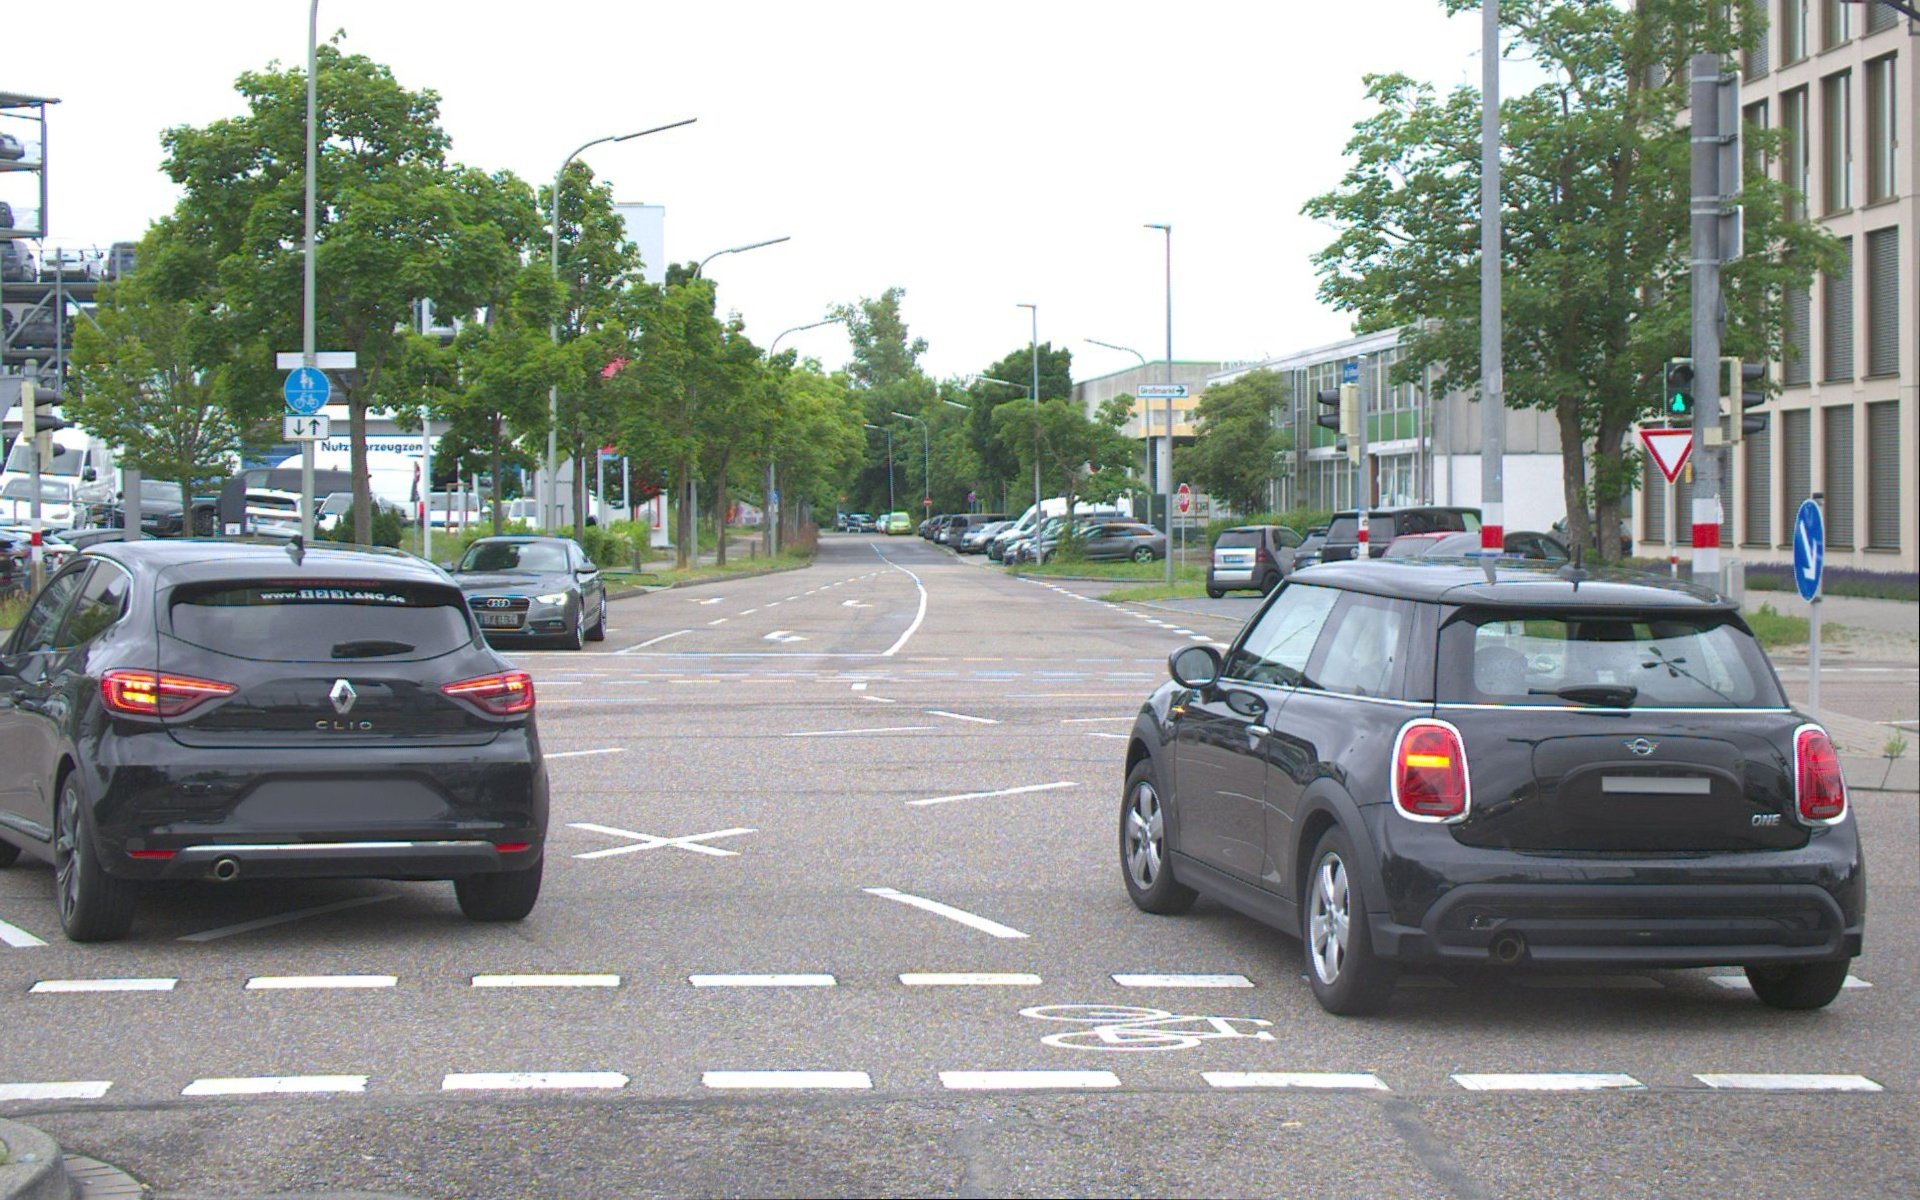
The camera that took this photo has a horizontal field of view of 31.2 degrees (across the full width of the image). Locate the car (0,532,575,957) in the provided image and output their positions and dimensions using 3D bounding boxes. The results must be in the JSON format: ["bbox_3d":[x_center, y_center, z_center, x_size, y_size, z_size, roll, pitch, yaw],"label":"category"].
[{"bbox_3d":[-2.946,0.475,13.745,1.756,1.430,4.001,1,0,-22],"label":"car"}]

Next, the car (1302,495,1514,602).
[{"bbox_3d":[8.548,-0.959,65.316,1.998,1.959,4.235,0,0,41],"label":"car"}]

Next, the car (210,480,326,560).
[{"bbox_3d":[-14.978,-1.708,74.563,1.993,1.612,4.001,1,0,-5],"label":"car"}]

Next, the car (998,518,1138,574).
[{"bbox_3d":[3.850,-1.933,123.260,4.785,1.885,2.144,1,0,-3],"label":"car"}]

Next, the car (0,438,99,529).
[{"bbox_3d":[-19.929,-2.499,74.150,1.993,1.817,4.001,1,0,-5],"label":"car"}]

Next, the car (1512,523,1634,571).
[{"bbox_3d":[18.229,-1.565,102.267,3.229,1.328,1.486,1,0,-19],"label":"car"}]

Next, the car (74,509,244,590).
[{"bbox_3d":[-20.855,-1.306,89.614,3.986,2.007,2.000,1,0,-4],"label":"car"}]

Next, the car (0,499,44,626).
[{"bbox_3d":[-17.421,-0.521,55.232,4.892,2.007,2.000,-2,1,-6],"label":"car"}]

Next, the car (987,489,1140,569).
[{"bbox_3d":[4.278,-2.932,142.610,6.116,3.105,2.134,1,0,-2],"label":"car"}]

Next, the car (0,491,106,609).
[{"bbox_3d":[-17.770,-0.824,60.777,4.892,2.007,2.000,-2,1,-6],"label":"car"}]

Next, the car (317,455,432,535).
[{"bbox_3d":[-12.780,-2.280,75.260,1.993,1.612,4.000,1,0,-3],"label":"car"}]

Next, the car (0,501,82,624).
[{"bbox_3d":[-17.488,-0.567,57.951,4.892,2.007,2.000,-2,1,-6],"label":"car"}]

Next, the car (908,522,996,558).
[{"bbox_3d":[-0.495,-3.621,206.268,5.173,2.007,2.144,1,0,-2],"label":"car"}]

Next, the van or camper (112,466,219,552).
[{"bbox_3d":[-19.707,-2.231,85.382,1.993,2.007,4.001,1,0,-5],"label":"van or camper"}]

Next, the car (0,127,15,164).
[{"bbox_3d":[-48.946,-22.463,170.025,3.994,1.661,1.997,2,1,31],"label":"car"}]

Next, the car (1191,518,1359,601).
[{"bbox_3d":[6.878,-0.880,75.013,3.424,1.726,1.765,1,0,-42],"label":"car"}]

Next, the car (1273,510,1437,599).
[{"bbox_3d":[8.446,-0.966,73.427,3.424,1.792,1.590,1,0,-42],"label":"car"}]

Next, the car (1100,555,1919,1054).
[{"bbox_3d":[1.732,0.600,12.079,1.785,1.411,3.644,1,1,-9],"label":"car"}]

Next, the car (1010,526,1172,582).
[{"bbox_3d":[4.348,-1.532,114.765,5.173,1.714,2.144,1,0,-3],"label":"car"}]

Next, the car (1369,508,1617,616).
[{"bbox_3d":[8.980,-0.630,57.735,4.121,1.762,1.888,0,1,-40],"label":"car"}]

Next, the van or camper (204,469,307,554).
[{"bbox_3d":[-17.511,-2.177,85.603,1.993,2.007,4.001,1,0,-5],"label":"van or camper"}]

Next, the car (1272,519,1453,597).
[{"bbox_3d":[8.072,-0.828,68.715,1.696,1.506,3.808,0,1,42],"label":"car"}]

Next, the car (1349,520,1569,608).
[{"bbox_3d":[9.042,-0.644,62.124,1.887,1.546,4.123,0,1,44],"label":"car"}]

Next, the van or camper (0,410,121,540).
[{"bbox_3d":[-22.543,-3.059,85.349,2.535,3.016,4.844,1,0,-5],"label":"van or camper"}]

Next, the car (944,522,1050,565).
[{"bbox_3d":[1.842,-2.826,173.173,5.173,2.007,2.144,1,0,-2],"label":"car"}]

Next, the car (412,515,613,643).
[{"bbox_3d":[-5.640,-0.315,43.856,1.978,1.546,4.614,0,1,0],"label":"car"}]

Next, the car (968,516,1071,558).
[{"bbox_3d":[2.868,-3.061,166.594,4.785,1.885,2.144,1,0,-3],"label":"car"}]
